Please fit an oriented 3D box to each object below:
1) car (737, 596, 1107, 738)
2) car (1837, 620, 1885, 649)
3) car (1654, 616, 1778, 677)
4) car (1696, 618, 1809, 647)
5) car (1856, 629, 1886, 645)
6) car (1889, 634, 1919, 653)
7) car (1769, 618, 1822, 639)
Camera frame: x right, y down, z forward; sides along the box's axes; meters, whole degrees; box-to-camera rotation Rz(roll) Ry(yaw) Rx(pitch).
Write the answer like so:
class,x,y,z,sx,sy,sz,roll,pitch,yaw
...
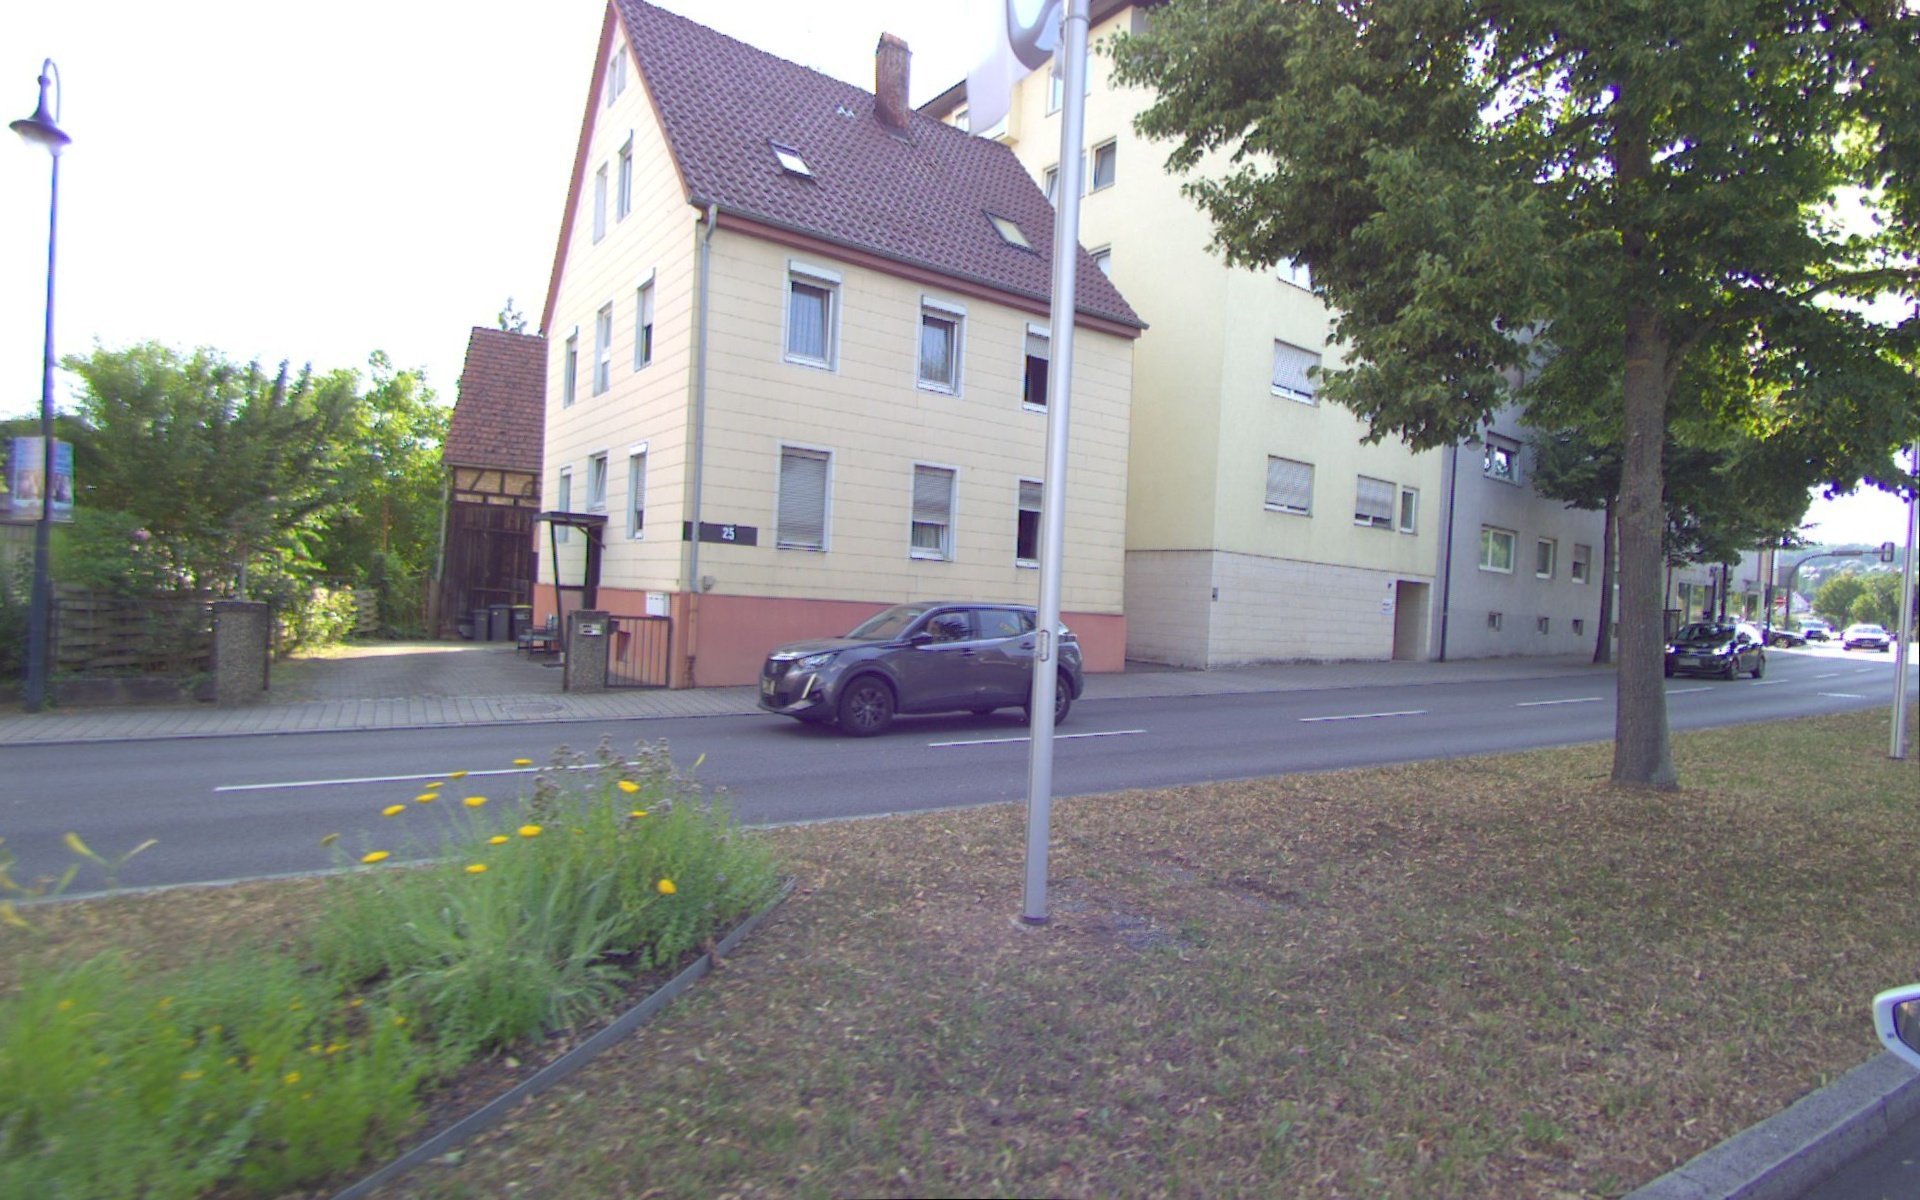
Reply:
class,x,y,z,sx,sy,sz,roll,pitch,yaw
car,-0.410,0.765,12.659,4.278,1.506,1.929,2,-1,-33
car,50.466,1.938,56.332,1.831,1.506,4.972,1,-1,40
car,20.379,1.243,27.040,3.747,1.506,1.595,2,-1,-36
car,44.615,1.802,56.621,1.904,1.456,4.811,2,-1,-44
car,114.937,4.642,126.732,2.187,1.792,4.441,1,0,34
car,104.244,4.776,110.649,2.187,1.883,4.441,1,0,34
car,73.856,2.491,88.889,1.821,1.759,4.924,1,-1,17
